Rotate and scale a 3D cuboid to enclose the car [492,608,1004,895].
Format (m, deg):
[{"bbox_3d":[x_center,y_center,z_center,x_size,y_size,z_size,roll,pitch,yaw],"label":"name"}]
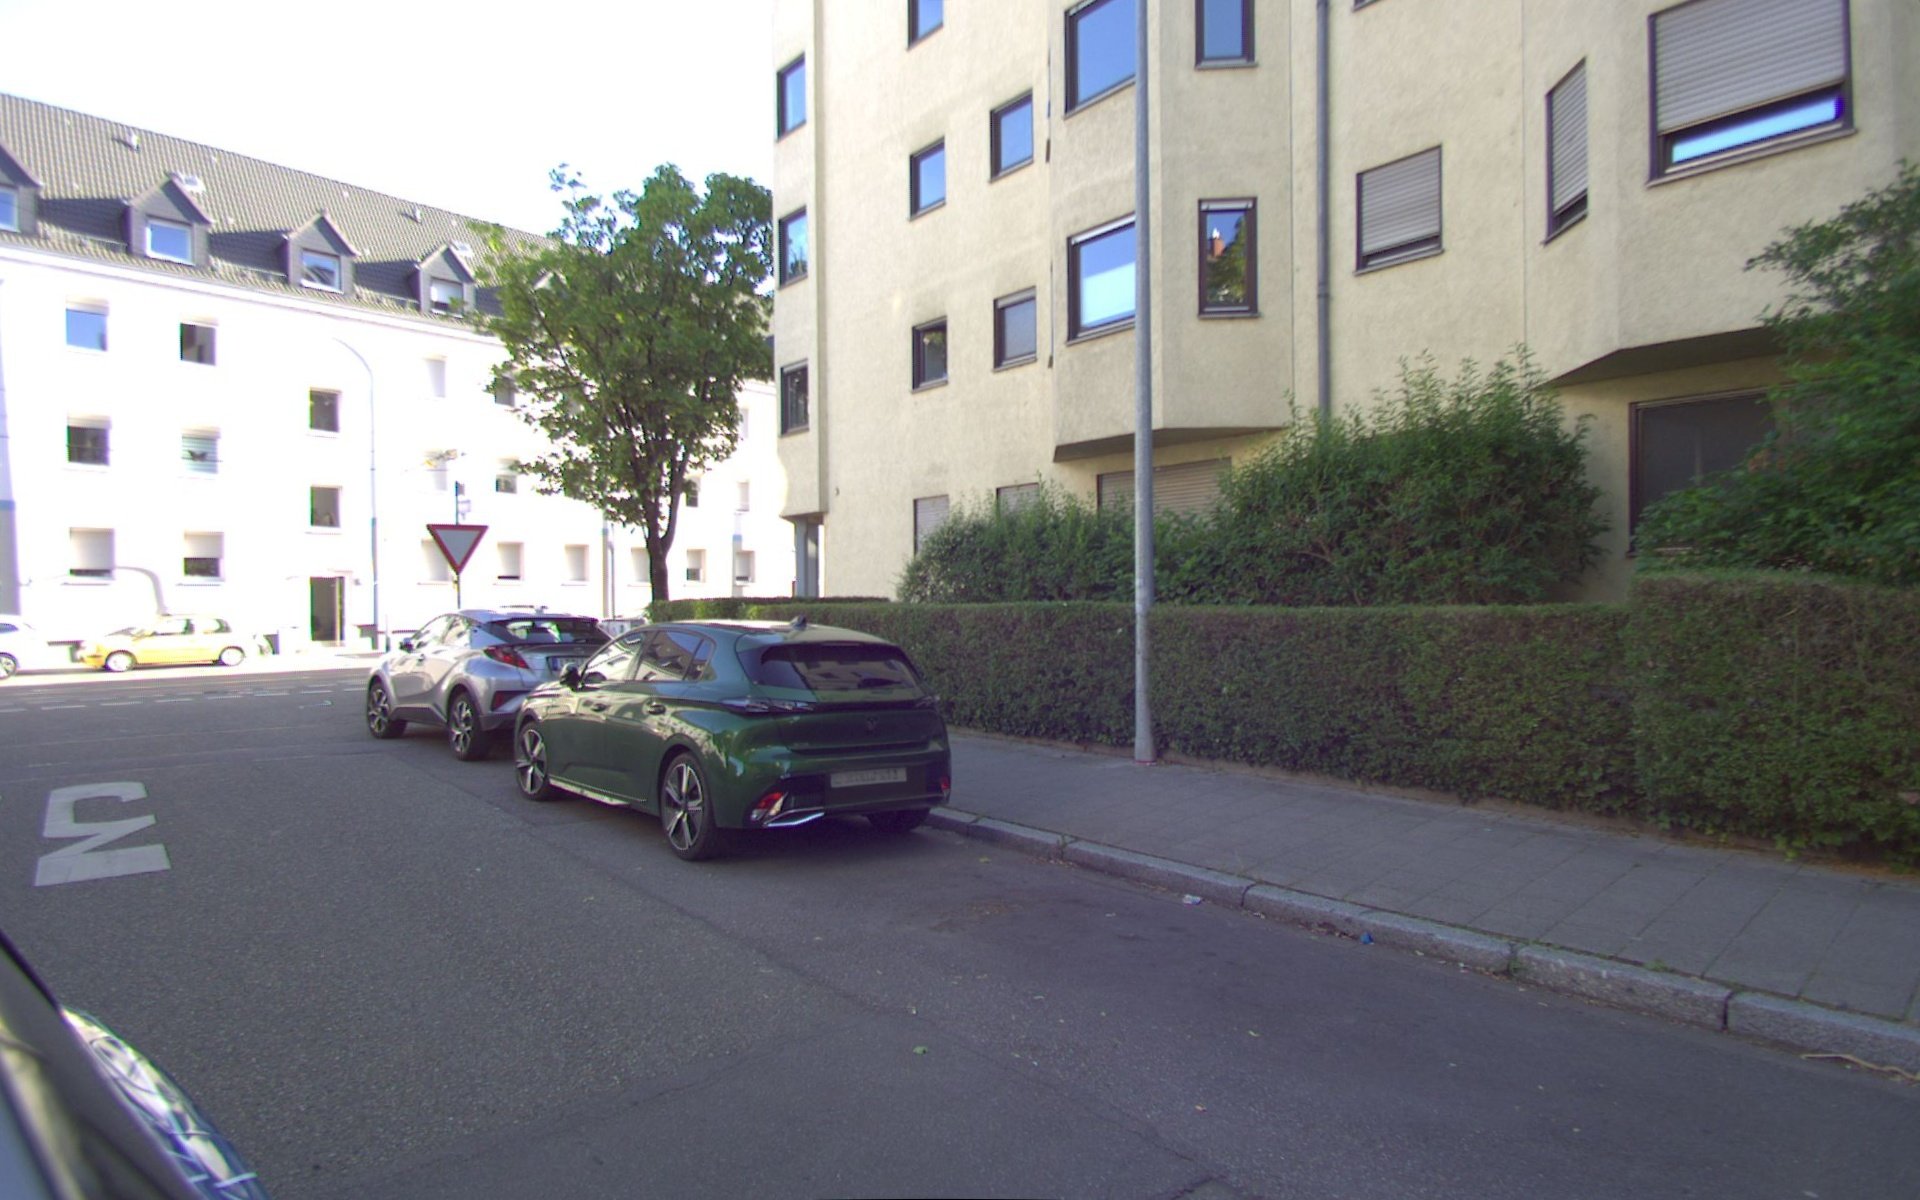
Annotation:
[{"bbox_3d":[-1.780,0.851,7.354,1.744,1.464,4.212,4,-3,-42],"label":"car"}]

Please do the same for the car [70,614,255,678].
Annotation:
[{"bbox_3d":[-20.697,1.133,26.364,1.553,1.459,3.565,0,1,41],"label":"car"}]

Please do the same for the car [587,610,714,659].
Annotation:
[{"bbox_3d":[-11.210,1.236,36.843,1.922,1.698,4.020,-1,-2,40],"label":"car"}]

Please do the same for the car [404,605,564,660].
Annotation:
[{"bbox_3d":[-15.266,1.004,32.644,1.998,1.569,4.229,-1,0,39],"label":"car"}]

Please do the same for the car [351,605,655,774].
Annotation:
[{"bbox_3d":[-5.274,0.875,11.420,4.074,1.567,1.700,-1,-2,44],"label":"car"}]

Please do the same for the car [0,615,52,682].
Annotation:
[{"bbox_3d":[-23.666,1.152,22.958,1.945,1.518,4.431,-1,0,43],"label":"car"}]
